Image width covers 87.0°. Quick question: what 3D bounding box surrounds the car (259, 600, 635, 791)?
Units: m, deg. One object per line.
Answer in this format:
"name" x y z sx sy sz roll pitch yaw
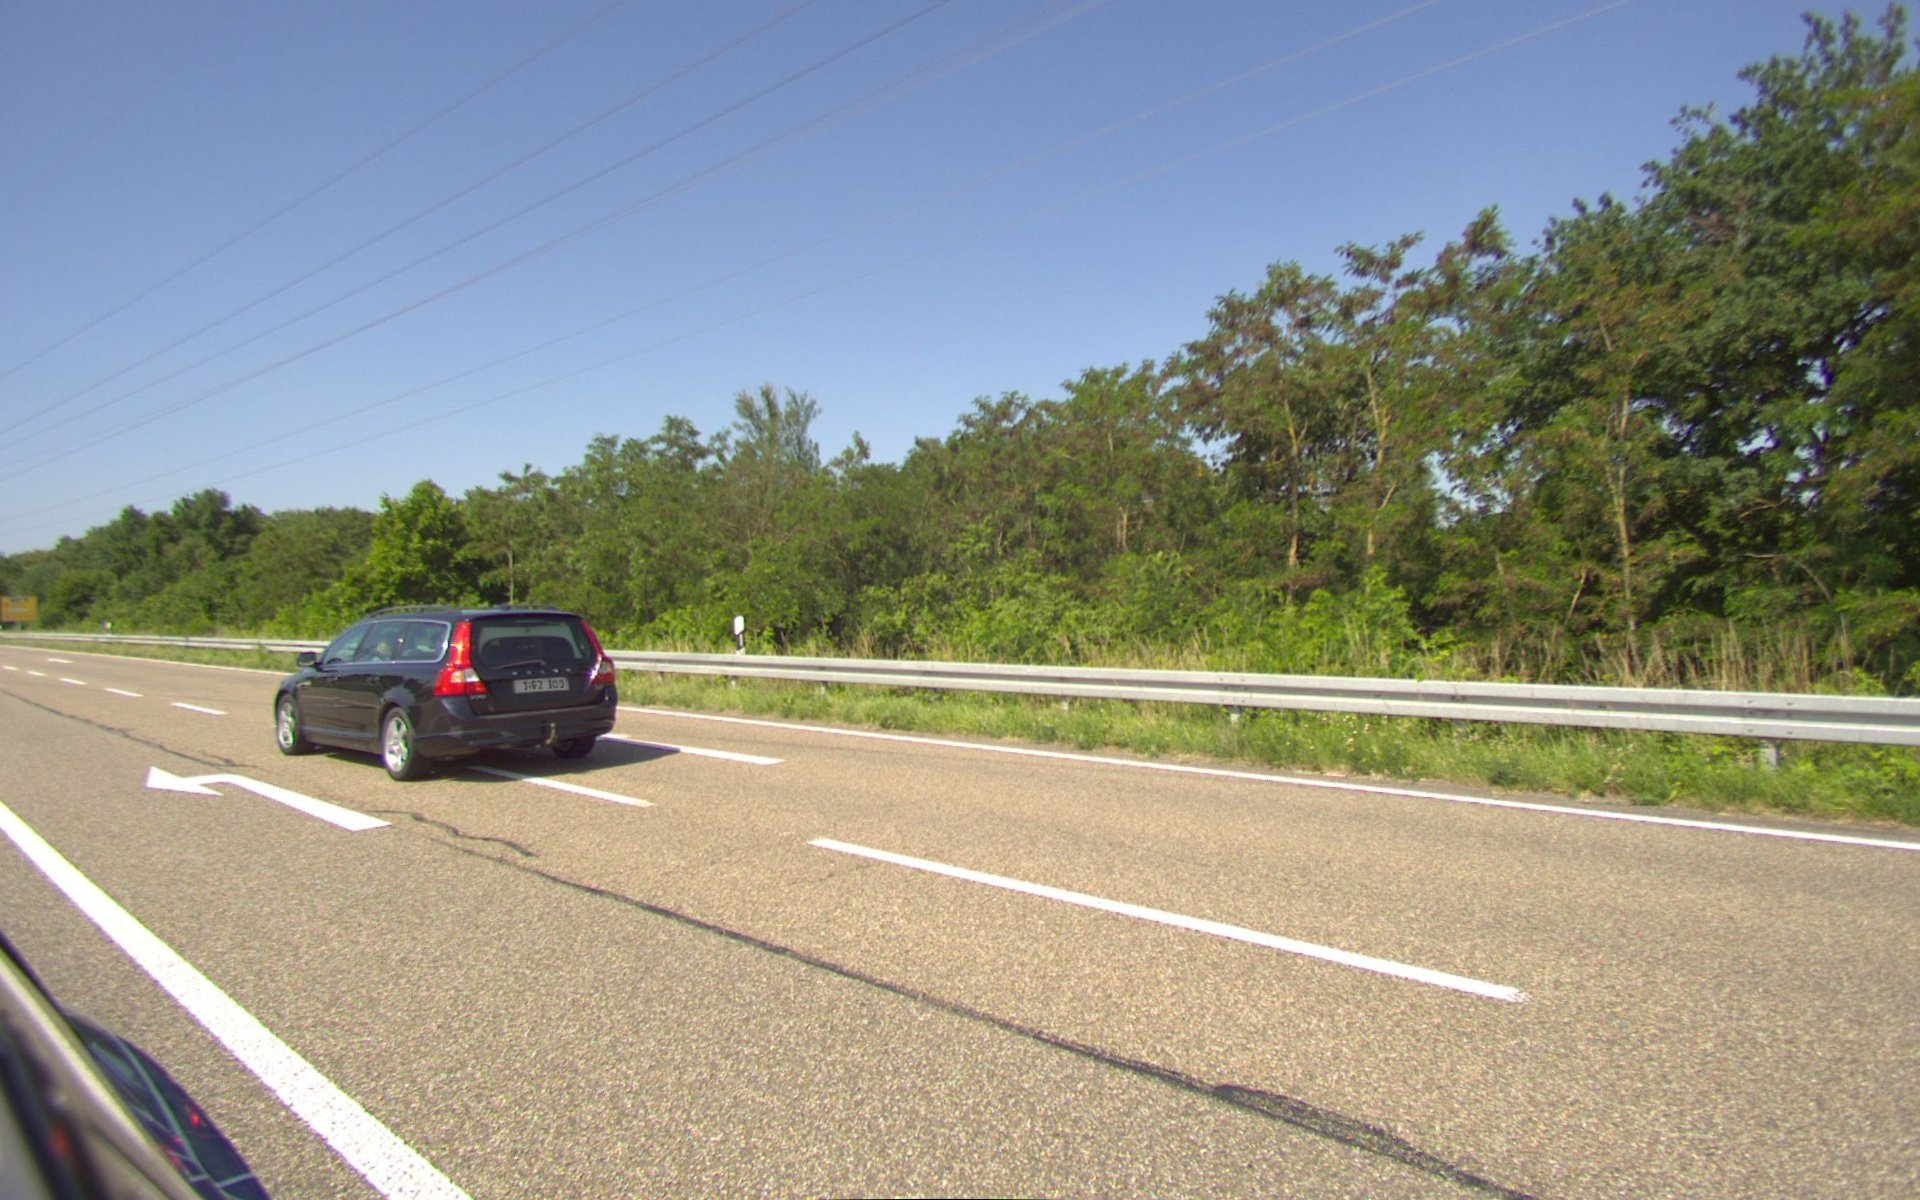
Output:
"car" -5.263 0.801 10.108 4.418 1.502 1.710 -1 0 39
